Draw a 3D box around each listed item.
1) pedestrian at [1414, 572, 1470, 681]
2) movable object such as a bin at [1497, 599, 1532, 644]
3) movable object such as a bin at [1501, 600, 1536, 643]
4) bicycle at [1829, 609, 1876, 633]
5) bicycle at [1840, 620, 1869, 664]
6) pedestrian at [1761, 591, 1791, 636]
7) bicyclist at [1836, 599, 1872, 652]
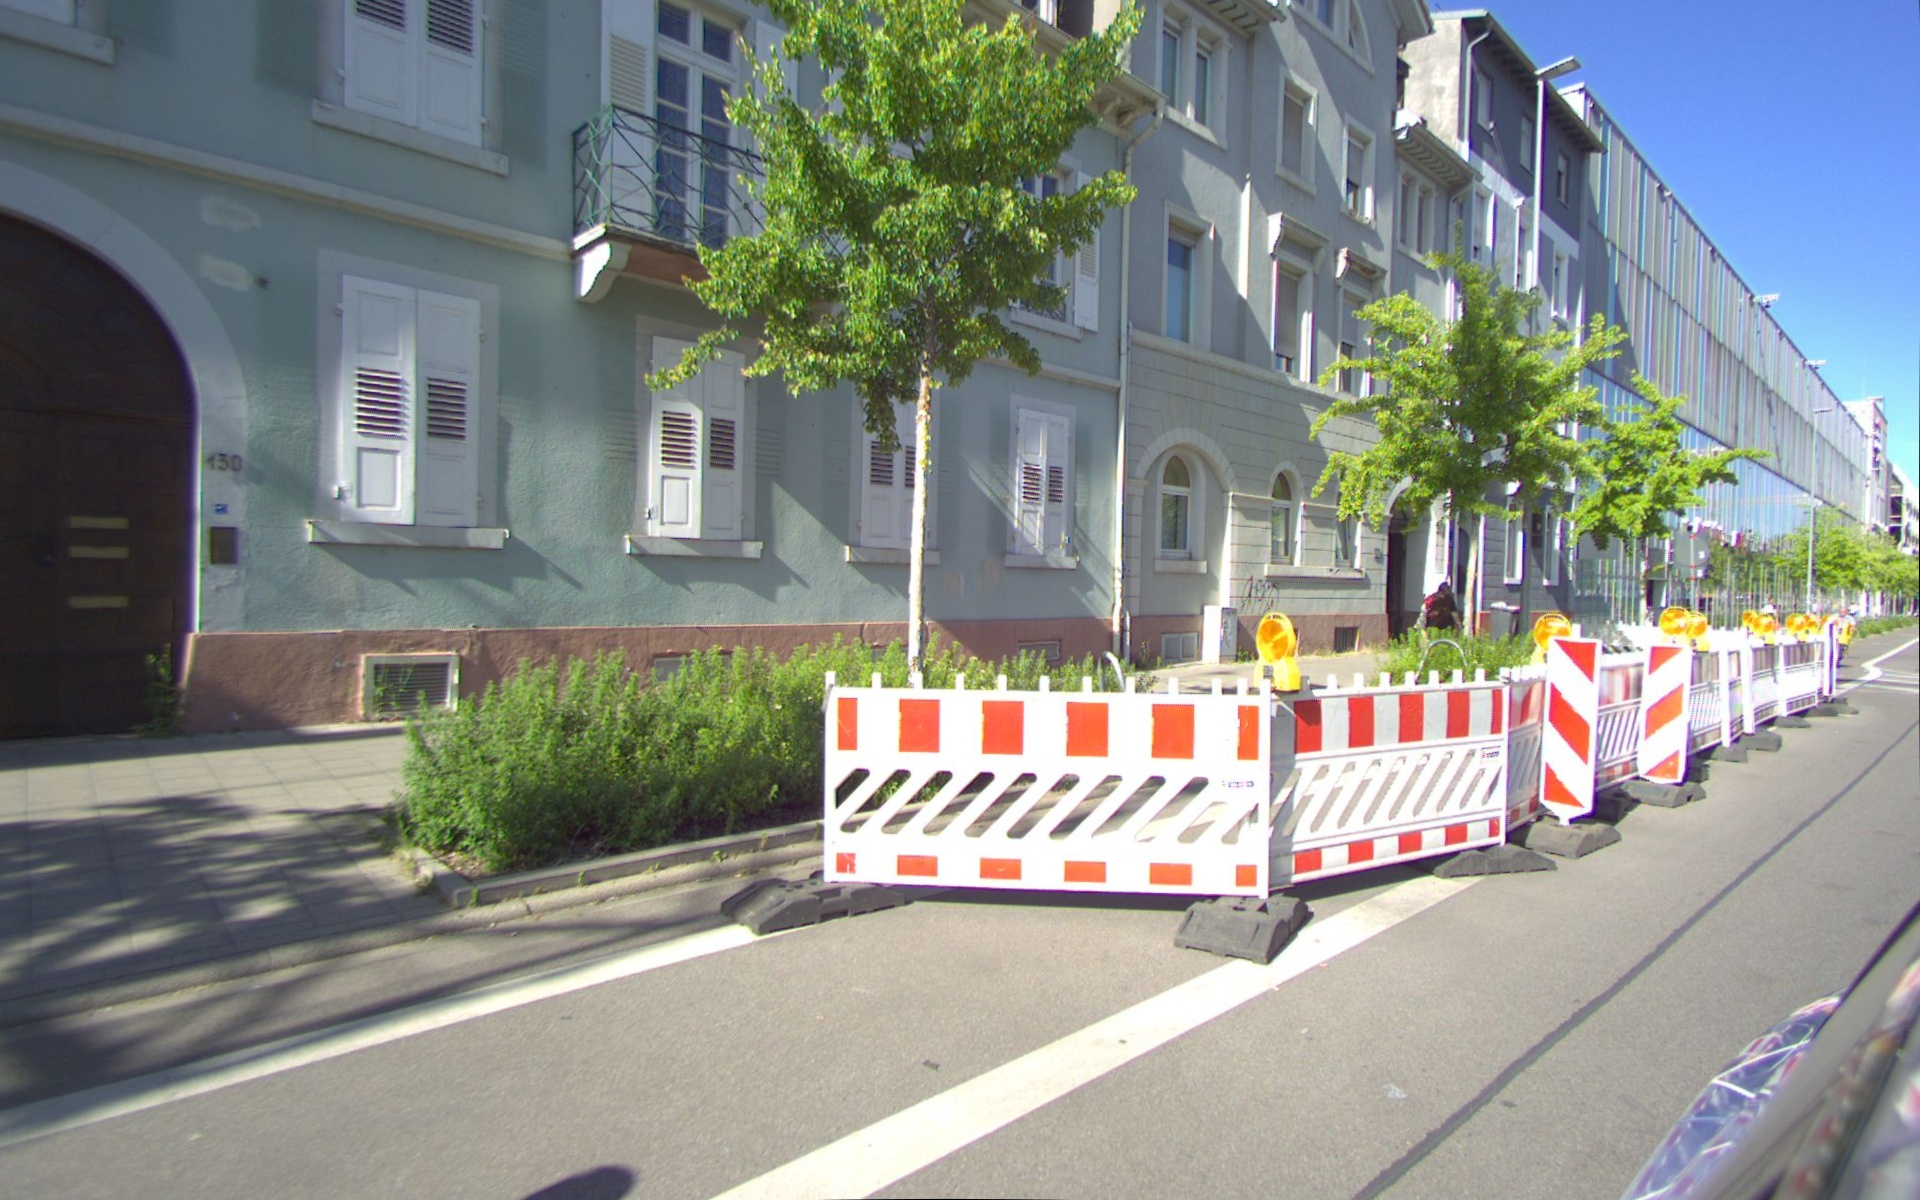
[{"bbox_3d":[8.819,0.466,18.522,0.791,1.953,0.760,1,0,36],"label":"pedestrian"},{"bbox_3d":[14.223,0.546,25.949,0.691,1.122,0.589,1,0,-42],"label":"movable object such as a bin"},{"bbox_3d":[14.698,0.565,26.621,0.691,1.096,0.604,1,0,-42],"label":"movable object such as a bin"},{"bbox_3d":[46.036,1.090,52.223,1.727,1.075,0.462,4,2,32],"label":"bicycle"},{"bbox_3d":[25.991,1.206,29.414,0.608,1.165,1.958,0,0,41],"label":"bicycle"},{"bbox_3d":[37.809,0.612,46.876,0.881,1.947,0.877,-2,5,-43],"label":"pedestrian"},{"bbox_3d":[25.948,0.723,29.379,0.753,1.480,0.578,0,1,42],"label":"bicyclist"}]
